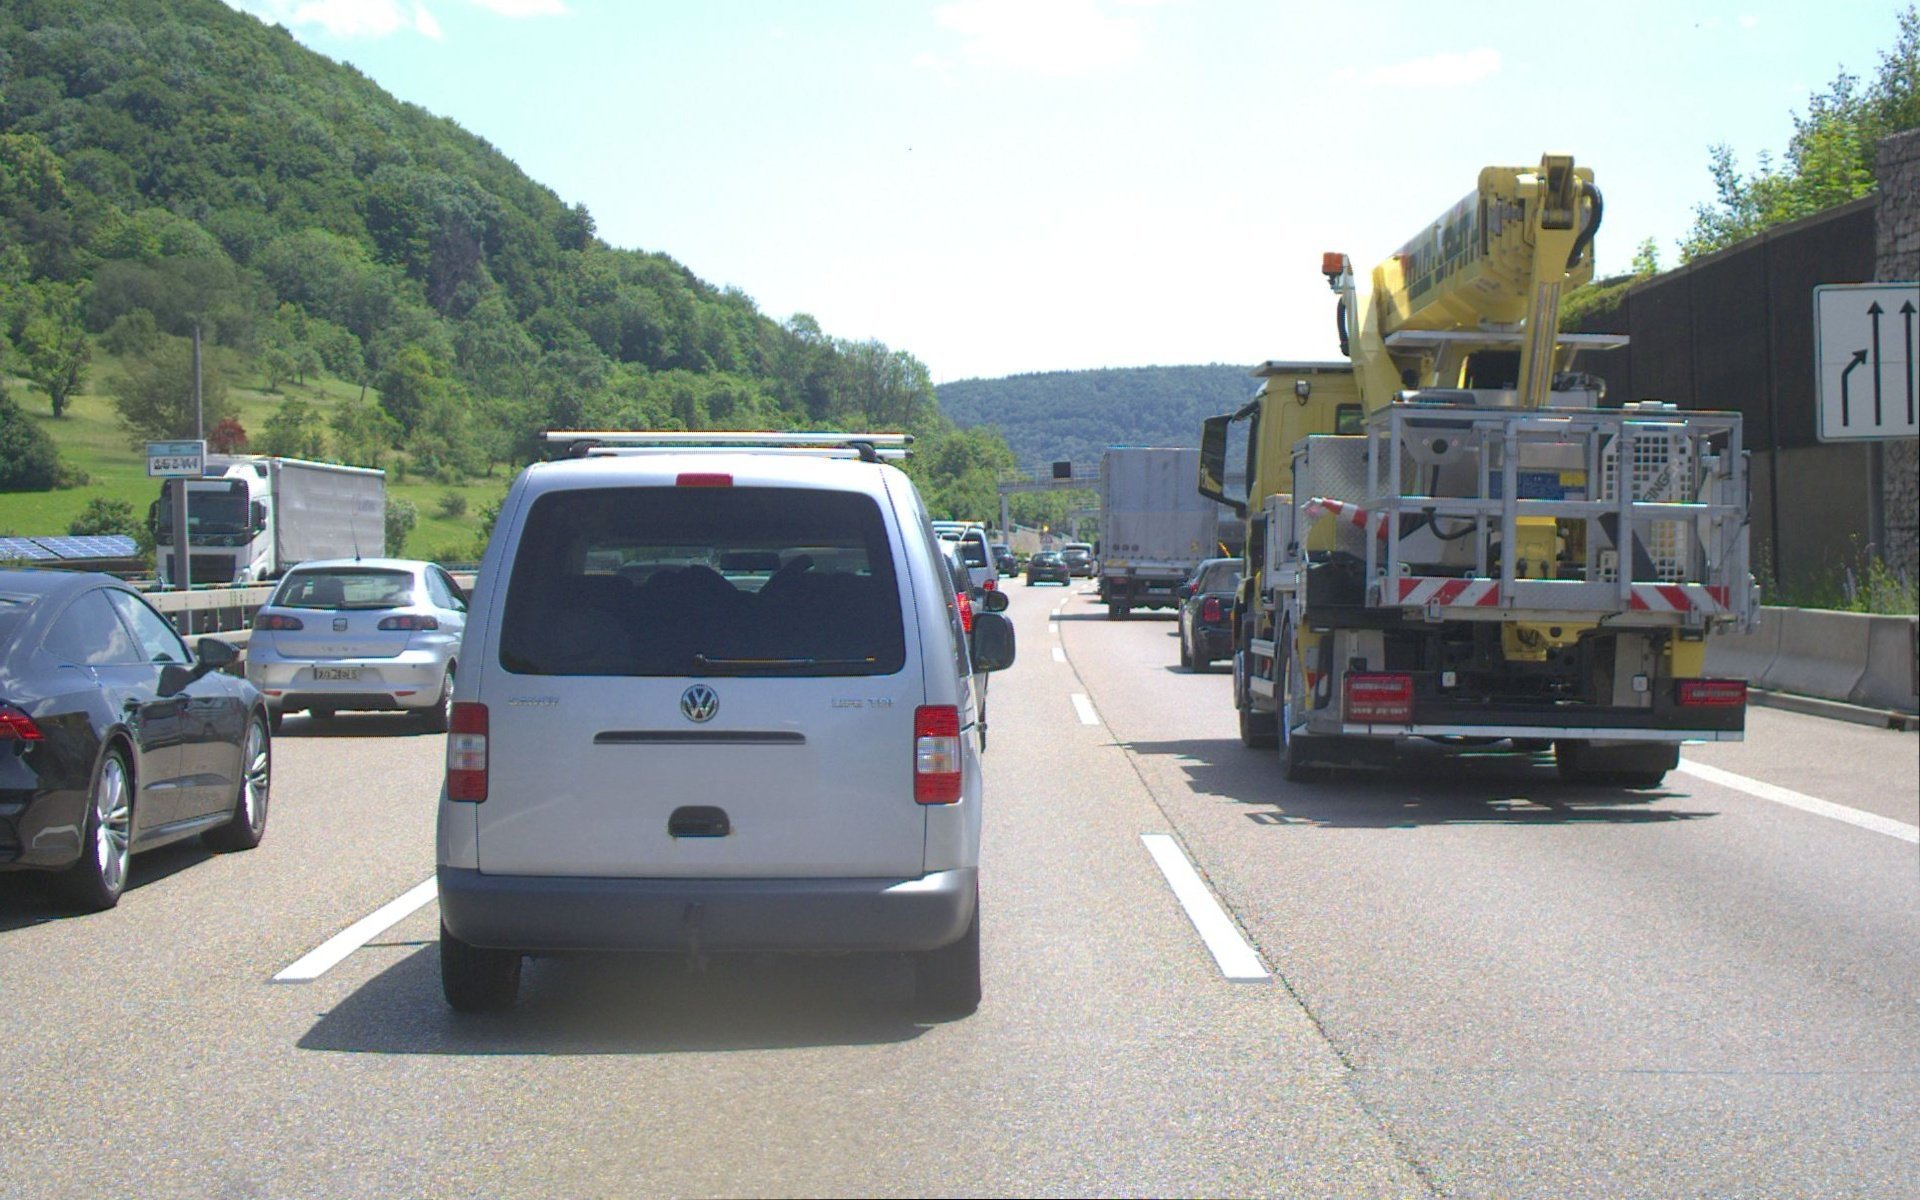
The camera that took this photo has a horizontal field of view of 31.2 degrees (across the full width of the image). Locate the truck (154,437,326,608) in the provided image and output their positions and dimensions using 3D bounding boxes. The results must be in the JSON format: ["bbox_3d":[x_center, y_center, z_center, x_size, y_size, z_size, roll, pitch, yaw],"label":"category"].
[{"bbox_3d":[-18.585,-1.961,89.175,2.798,4.217,7.231,1,0,1],"label":"truck"}]

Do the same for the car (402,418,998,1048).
[{"bbox_3d":[-0.836,0.361,12.172,1.756,1.861,4.000,0,1,-2],"label":"car"}]

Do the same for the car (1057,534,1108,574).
[{"bbox_3d":[5.773,-2.151,162.420,2.114,1.821,4.000,1,0,-2],"label":"car"}]

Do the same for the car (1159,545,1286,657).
[{"bbox_3d":[4.821,-0.008,63.674,1.993,2.007,4.000,0,1,-1],"label":"car"}]

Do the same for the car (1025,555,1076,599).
[{"bbox_3d":[3.632,-0.936,139.150,1.993,1.743,4.000,1,0,1],"label":"car"}]

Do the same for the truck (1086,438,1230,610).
[{"bbox_3d":[4.581,-1.719,80.900,2.940,3.810,8.236,1,0,1],"label":"truck"}]

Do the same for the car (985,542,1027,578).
[{"bbox_3d":[2.348,-2.044,175.794,1.993,1.799,4.000,1,0,-1],"label":"car"}]

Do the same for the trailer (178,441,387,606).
[{"bbox_3d":[-18.483,-1.998,94.832,2.854,4.177,13.615,1,0,1],"label":"trailer"}]

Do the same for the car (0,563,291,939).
[{"bbox_3d":[-4.348,0.541,15.373,1.800,1.385,4.970,0,1,-1],"label":"car"}]

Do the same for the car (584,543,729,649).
[{"bbox_3d":[-4.463,-0.083,51.012,1.924,1.494,4.000,1,1,-2],"label":"car"}]

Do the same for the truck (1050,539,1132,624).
[{"bbox_3d":[4.079,-0.600,106.214,2.390,2.532,5.939,0,1,4],"label":"truck"}]

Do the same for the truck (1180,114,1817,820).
[{"bbox_3d":[3.284,-0.810,23.537,2.703,3.929,8.723,0,1,-2],"label":"truck"}]

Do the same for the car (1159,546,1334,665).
[{"bbox_3d":[3.615,0.042,43.945,1.786,1.453,3.771,0,1,-2],"label":"car"}]

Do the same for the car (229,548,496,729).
[{"bbox_3d":[-5.017,0.277,29.303,1.695,1.440,3.862,0,1,-2],"label":"car"}]

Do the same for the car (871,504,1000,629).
[{"bbox_3d":[-0.438,-0.562,56.350,1.993,1.969,4.000,0,1,-2],"label":"car"}]
